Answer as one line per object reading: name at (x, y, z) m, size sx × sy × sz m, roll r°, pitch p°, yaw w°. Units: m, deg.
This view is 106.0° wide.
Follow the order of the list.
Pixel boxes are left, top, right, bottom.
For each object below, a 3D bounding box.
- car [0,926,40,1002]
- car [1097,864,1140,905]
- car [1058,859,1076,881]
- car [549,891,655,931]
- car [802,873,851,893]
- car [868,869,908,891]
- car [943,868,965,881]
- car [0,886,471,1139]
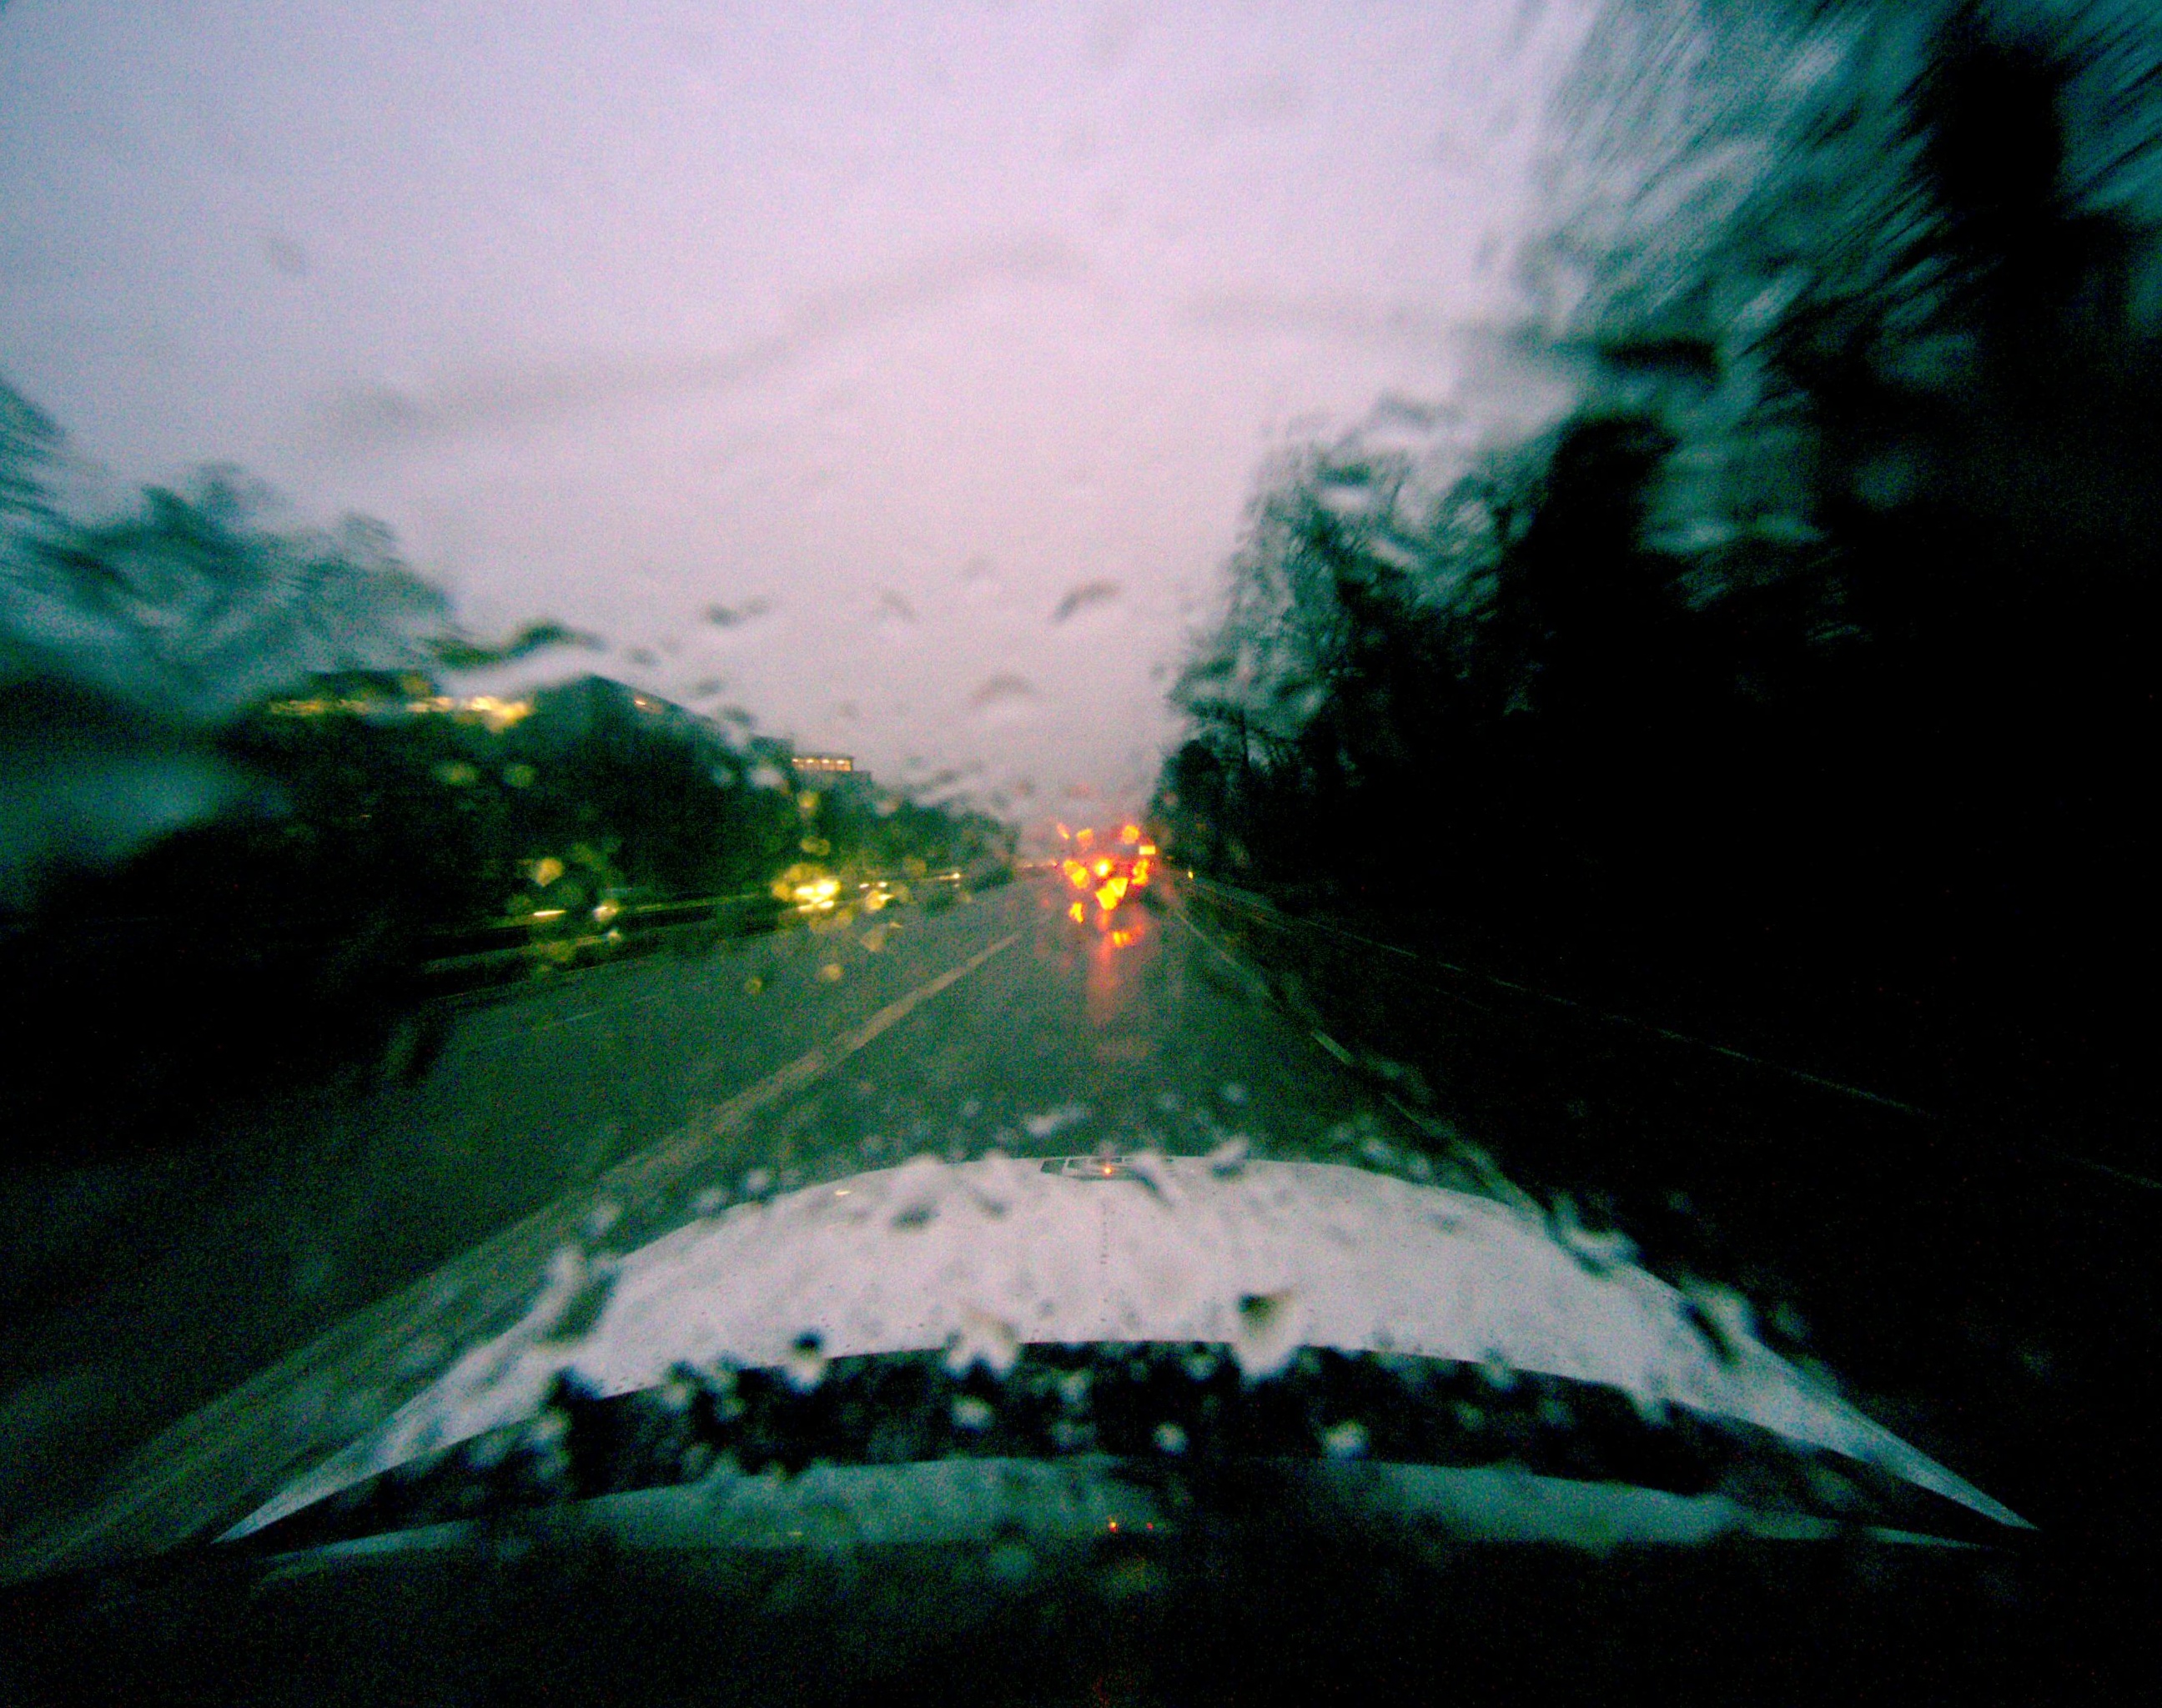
car at (-20.259, 1.973, 12.867) m, size 1.702 × 1.322 × 4.477 m, roll 0°, pitch 0°, yaw 4°
car at (1.358, 1.109, 30.591) m, size 1.522 × 1.416 × 3.479 m, roll 0°, pitch 0°, yaw 1°
car at (-1.663, 1.852, 94.012) m, size 1.995 × 2.453 × 3.997 m, roll 0°, pitch -1°, yaw -1°
car at (-19.126, 2.232, 32.763) m, size 1.538 × 1.322 × 4.262 m, roll 0°, pitch 0°, yaw 4°
car at (-17.268, 1.947, 55.499) m, size 1.538 × 1.271 × 4.691 m, roll 0°, pitch 0°, yaw 4°
car at (-13.465, 1.812, 57.066) m, size 1.538 × 1.443 × 4.366 m, roll 0°, pitch 0°, yaw 4°
car at (-14.822, 2.374, 95.215) m, size 1.538 × 1.512 × 4.545 m, roll -2°, pitch -1°, yaw 4°
car at (-7.812, 1.162, 6.635) m, size 1.767 × 1.534 × 4.709 m, roll -5°, pitch -1°, yaw 5°
